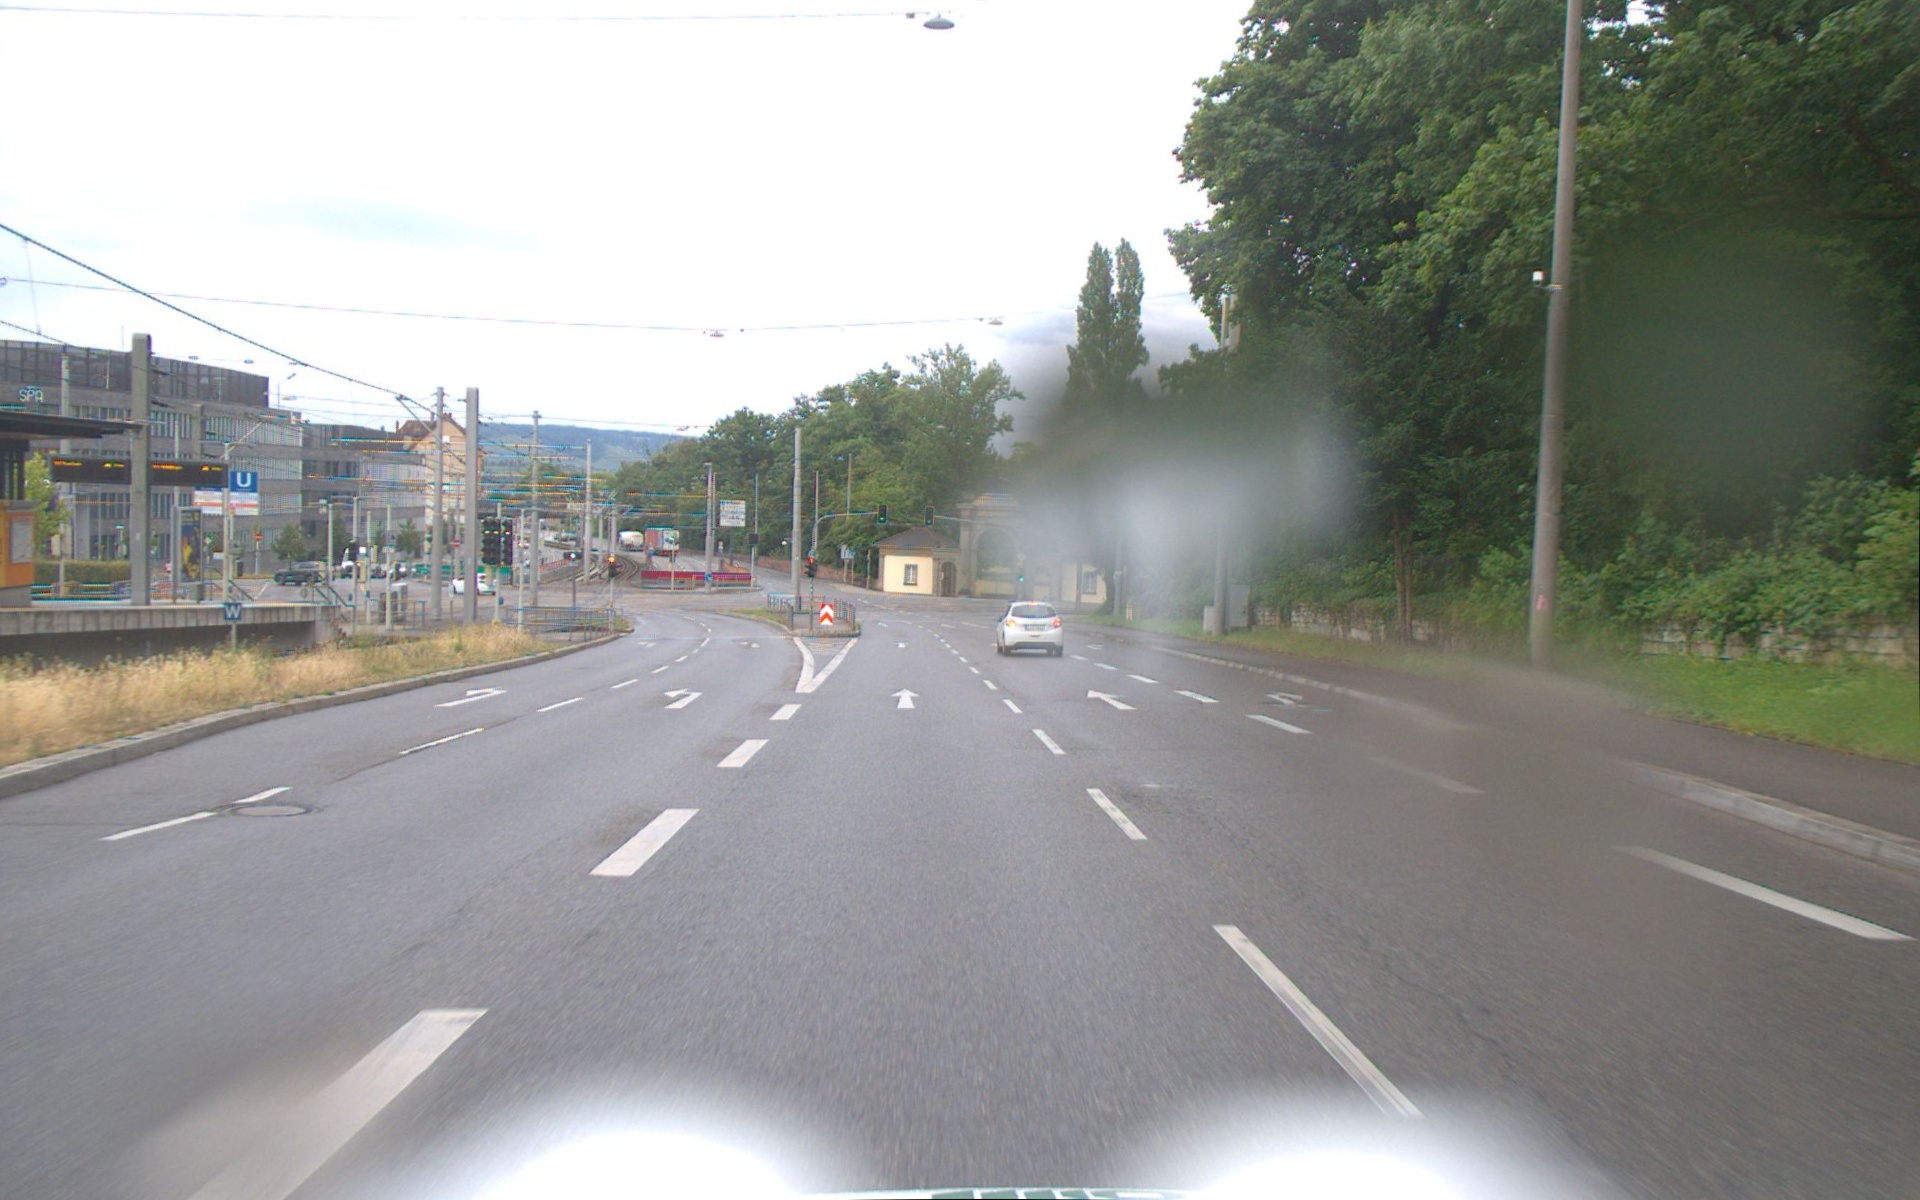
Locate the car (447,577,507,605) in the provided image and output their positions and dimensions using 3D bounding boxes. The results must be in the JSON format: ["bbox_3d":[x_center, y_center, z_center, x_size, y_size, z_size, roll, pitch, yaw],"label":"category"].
[{"bbox_3d":[-32.577,-0.585,111.586,3.920,1.633,1.822,4,2,35],"label":"car"}]

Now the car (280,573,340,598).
[{"bbox_3d":[-46.920,-1.079,119.418,3.911,1.735,1.997,1,0,28],"label":"car"}]

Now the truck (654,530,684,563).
[{"bbox_3d":[-43.948,-8.008,249.772,3.357,4.649,11.245,4,0,-14],"label":"truck"}]

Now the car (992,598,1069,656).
[{"bbox_3d":[1.938,0.743,46.614,1.831,1.537,3.897,0,0,-3],"label":"car"}]

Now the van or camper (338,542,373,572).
[{"bbox_3d":[-50.468,-3.597,138.167,1.957,2.386,3.992,-1,0,-9],"label":"van or camper"}]
